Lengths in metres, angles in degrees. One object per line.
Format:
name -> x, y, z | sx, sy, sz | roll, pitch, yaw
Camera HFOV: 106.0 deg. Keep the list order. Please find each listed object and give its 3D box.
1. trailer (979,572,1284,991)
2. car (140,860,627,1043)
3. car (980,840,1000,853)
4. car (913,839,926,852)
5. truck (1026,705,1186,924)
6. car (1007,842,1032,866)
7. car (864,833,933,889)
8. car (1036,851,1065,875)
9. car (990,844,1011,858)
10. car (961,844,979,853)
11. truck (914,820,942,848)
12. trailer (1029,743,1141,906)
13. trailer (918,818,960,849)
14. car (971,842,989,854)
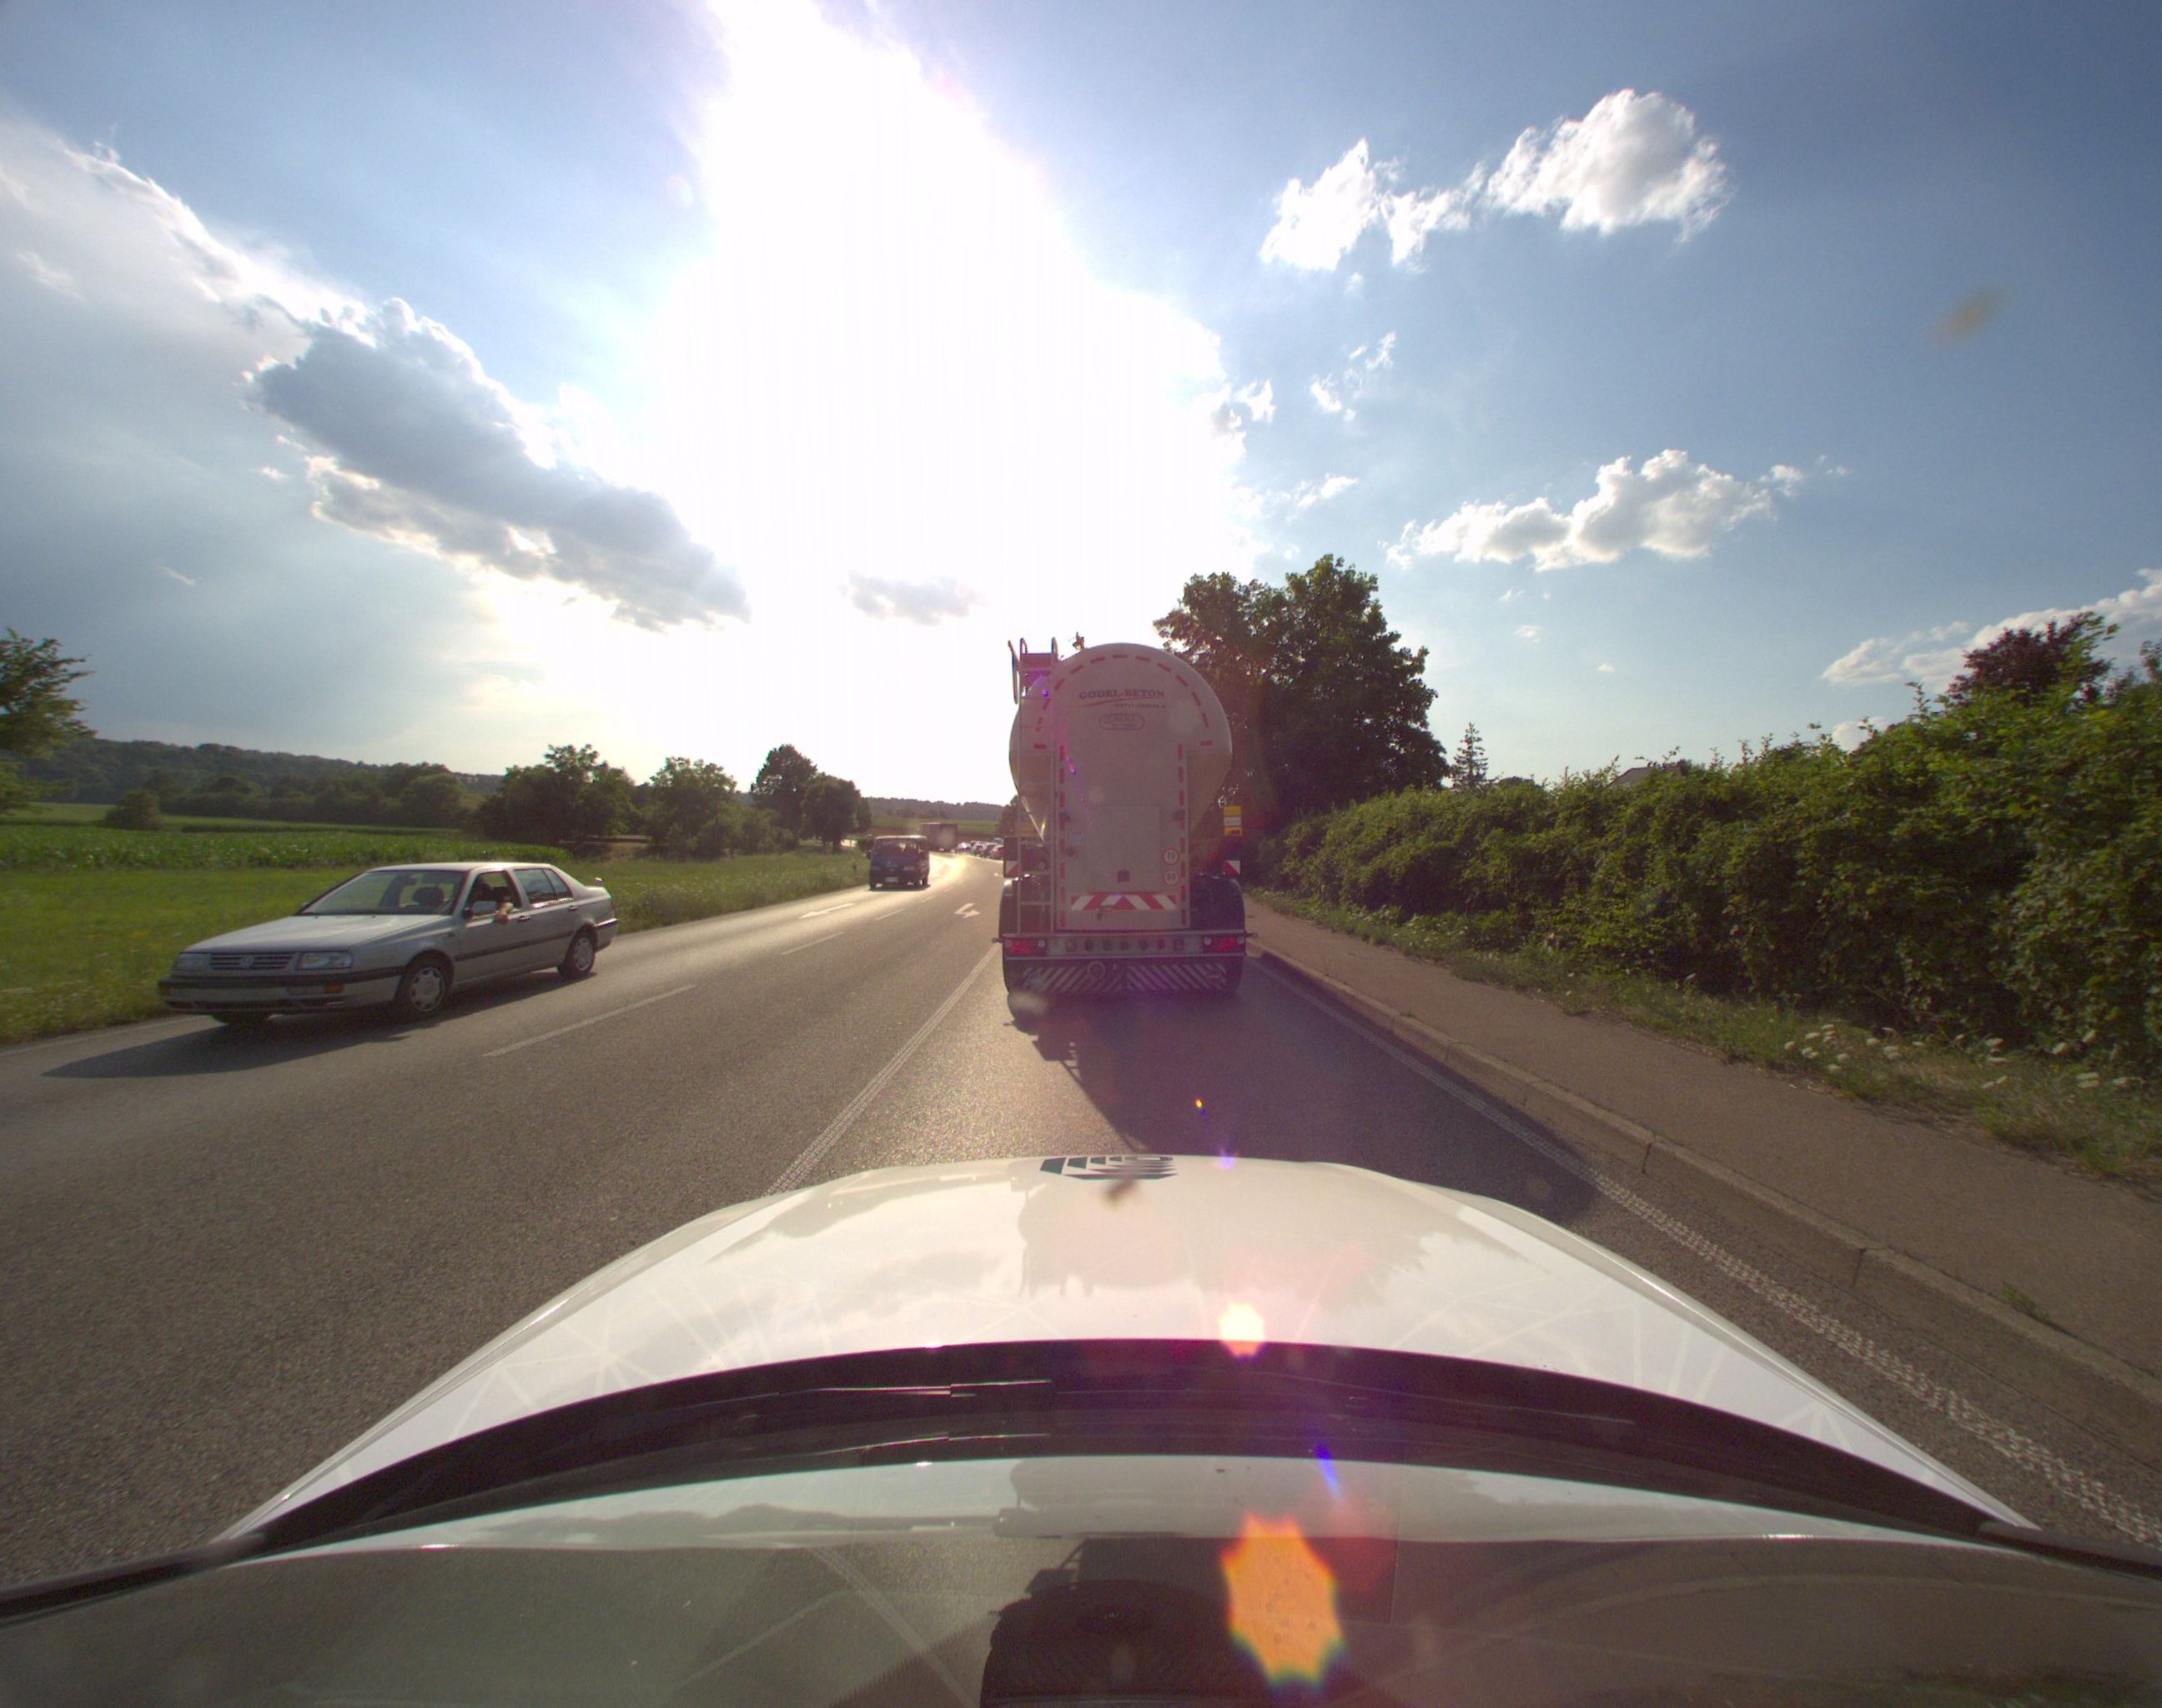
trailer -> 0.468, -0.727, 12.812 | 2.900, 4.006, 9.927 | -1, 0, 0
car -> -6.793, 0.797, 8.678 | 1.702, 1.428, 4.174 | 0, 0, -3
car -> -10.101, -0.813, 90.322 | 1.583, 1.340, 3.407 | 1, 0, -16
car -> -22.282, -1.193, 112.079 | 1.437, 1.684, 3.486 | 1, 0, -17
truck -> 0.451, -0.736, 17.002 | 2.901, 4.006, 4.058 | -1, 0, -1
car -> -5.298, -0.031, 69.786 | 1.861, 2.013, 3.707 | -1, 0, -9
car -> -7.468, 0.252, 33.807 | 1.993, 2.136, 4.774 | 0, 0, -3
car -> -1.746, 0.491, 46.858 | 1.576, 1.340, 3.423 | 1, 0, -2
car -> -8.322, -0.327, 84.079 | 1.583, 1.340, 3.407 | 1, 0, -16
car -> -14.328, -0.722, 104.909 | 1.773, 1.205, 3.407 | 1, 0, -16
truck -> -24.437, -3.122, 129.762 | 3.389, 4.350, 5.664 | 1, 0, -22
trailer -> 0.313, -0.839, 28.874 | 2.944, 4.315, 14.180 | 1, 0, 2
trailer -> -21.455, -3.023, 122.190 | 3.389, 4.350, 14.190 | 1, 0, -22
car -> -12.231, -0.720, 98.334 | 1.583, 1.340, 3.407 | 1, 0, -16
